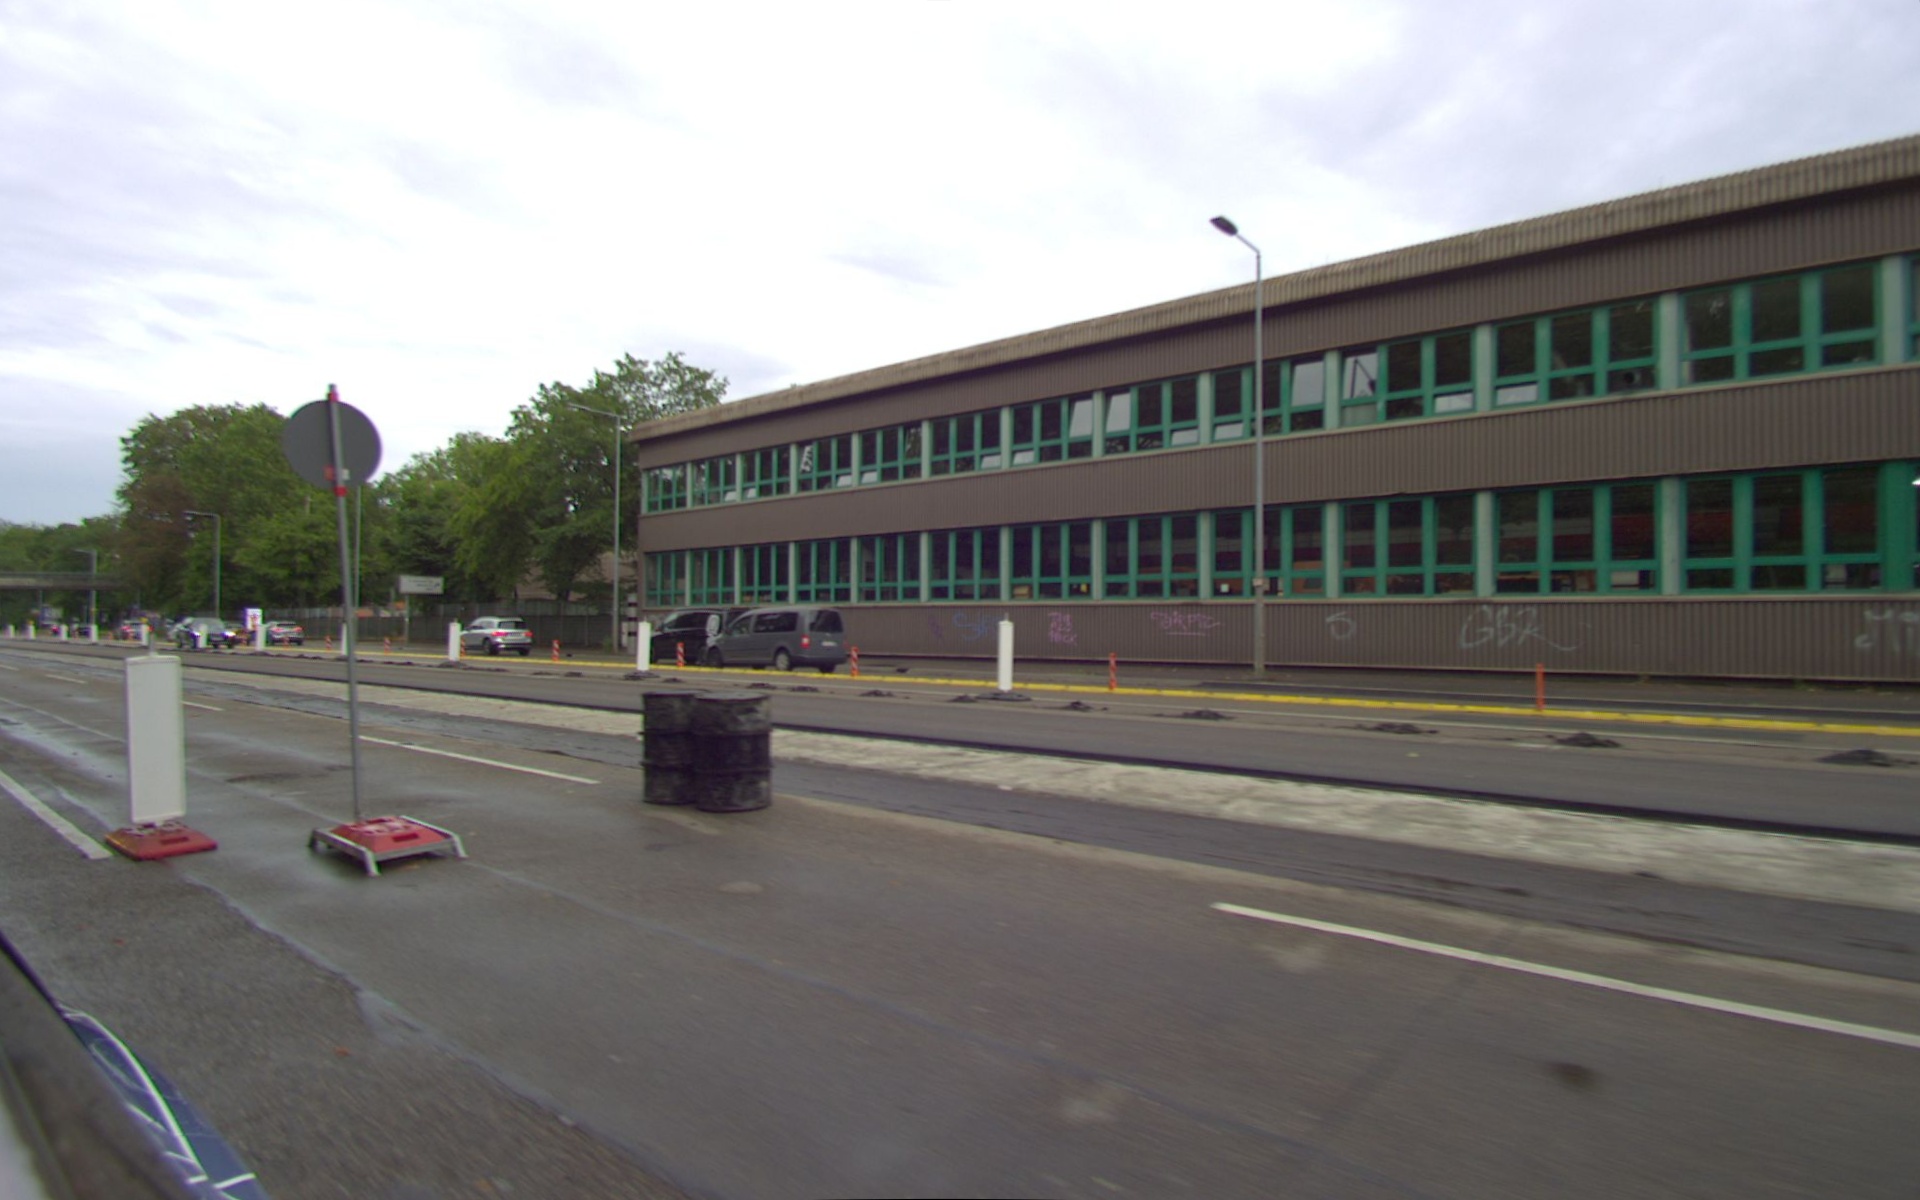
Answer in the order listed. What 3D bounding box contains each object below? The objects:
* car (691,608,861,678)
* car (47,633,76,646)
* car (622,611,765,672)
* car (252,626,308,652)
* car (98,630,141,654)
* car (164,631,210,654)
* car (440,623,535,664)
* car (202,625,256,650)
[{"bbox_3d":[-5.206,1.145,28.252,4.950,1.794,1.973,-1,-1,40],"label":"car"},{"bbox_3d":[-104.222,4.526,117.382,4.261,1.440,1.974,-2,-2,40],"label":"car"},{"bbox_3d":[-9.141,1.362,34.459,5.359,1.933,1.974,-1,-1,40],"label":"car"},{"bbox_3d":[-44.265,2.490,65.863,4.176,1.598,1.973,-1,-1,41],"label":"car"},{"bbox_3d":[-66.673,3.310,80.272,4.673,1.781,1.967,-1,-1,42],"label":"car"},{"bbox_3d":[-53.834,2.943,70.475,3.989,1.546,1.785,-1,-1,41],"label":"car"},{"bbox_3d":[-21.084,1.904,45.068,4.931,1.719,1.918,-1,-1,40],"label":"car"},{"bbox_3d":[-45.584,2.312,63.093,4.515,1.513,1.873,-1,-1,42],"label":"car"}]
